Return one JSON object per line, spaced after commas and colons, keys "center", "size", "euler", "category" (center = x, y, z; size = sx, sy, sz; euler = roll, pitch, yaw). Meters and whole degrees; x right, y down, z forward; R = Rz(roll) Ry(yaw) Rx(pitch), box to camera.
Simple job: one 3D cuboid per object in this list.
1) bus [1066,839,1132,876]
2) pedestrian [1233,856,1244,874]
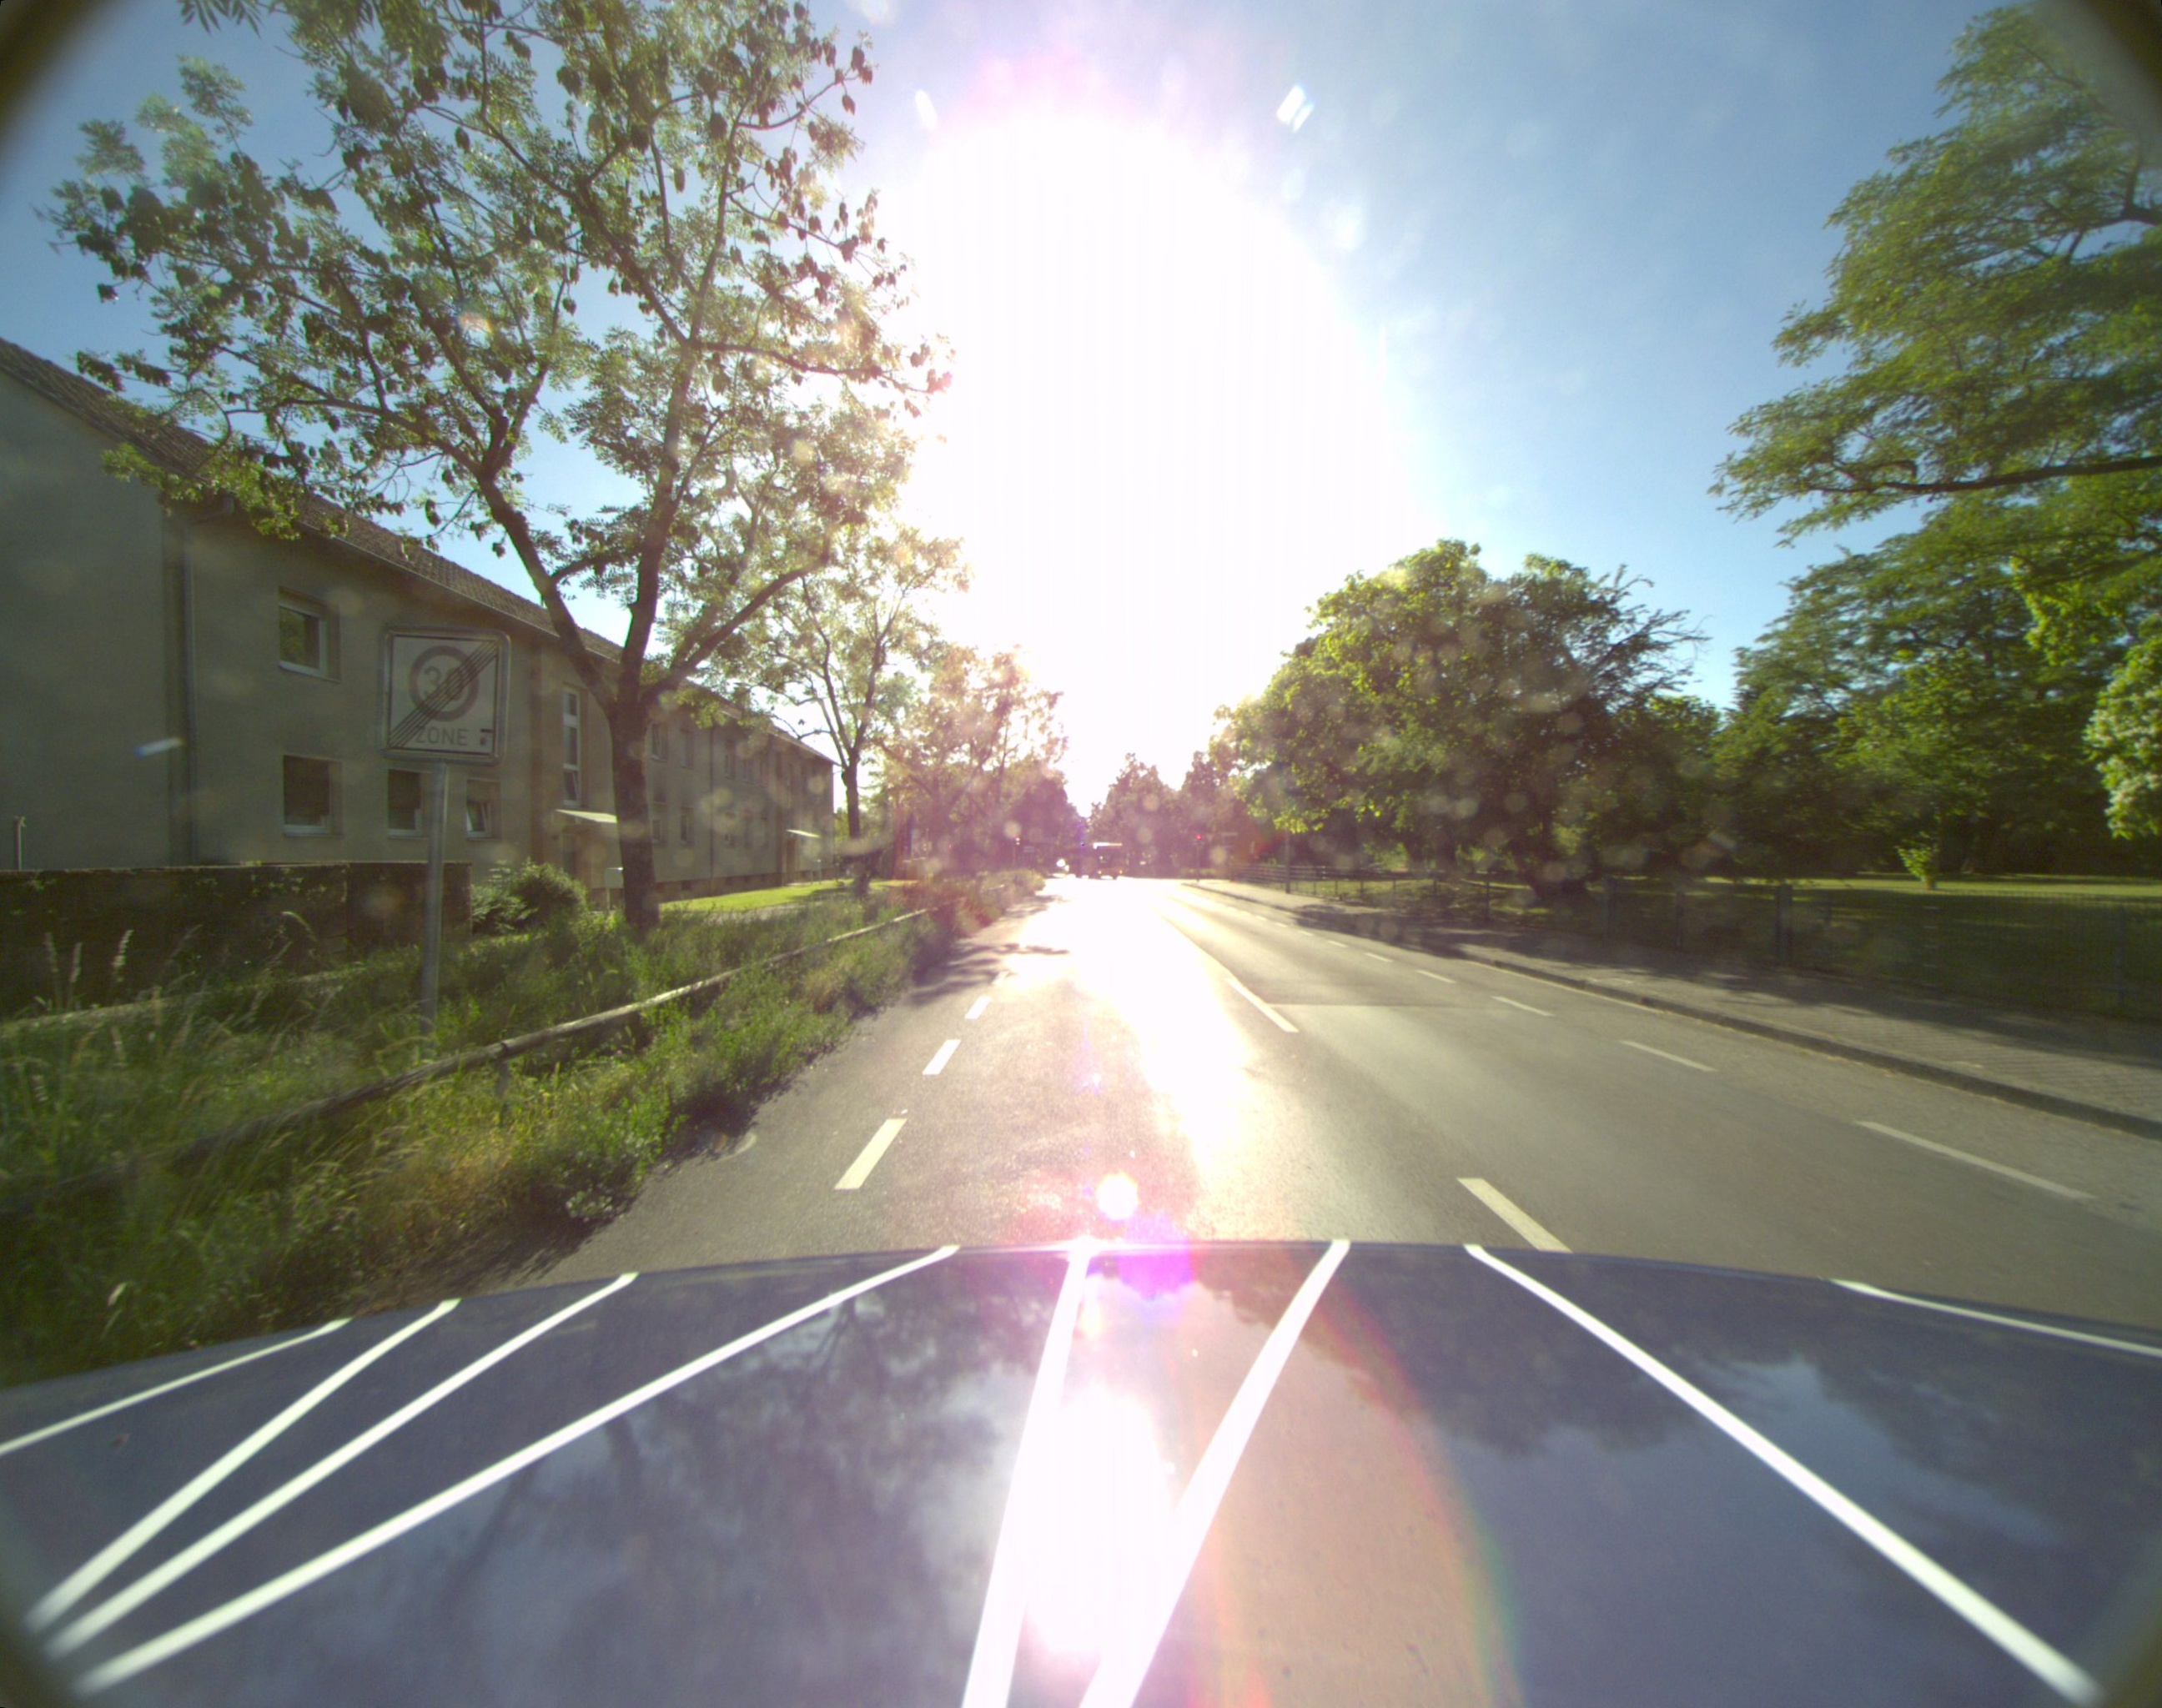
{"center": [1.370, 0.402, 69.662], "size": [3.131, 3.080, 12.467], "euler": [-2, -1, -12], "category": "bus"}
{"center": [14.594, 0.999, 70.372], "size": [0.800, 1.624, 0.647], "euler": [-2, 0, 1], "category": "pedestrian"}
